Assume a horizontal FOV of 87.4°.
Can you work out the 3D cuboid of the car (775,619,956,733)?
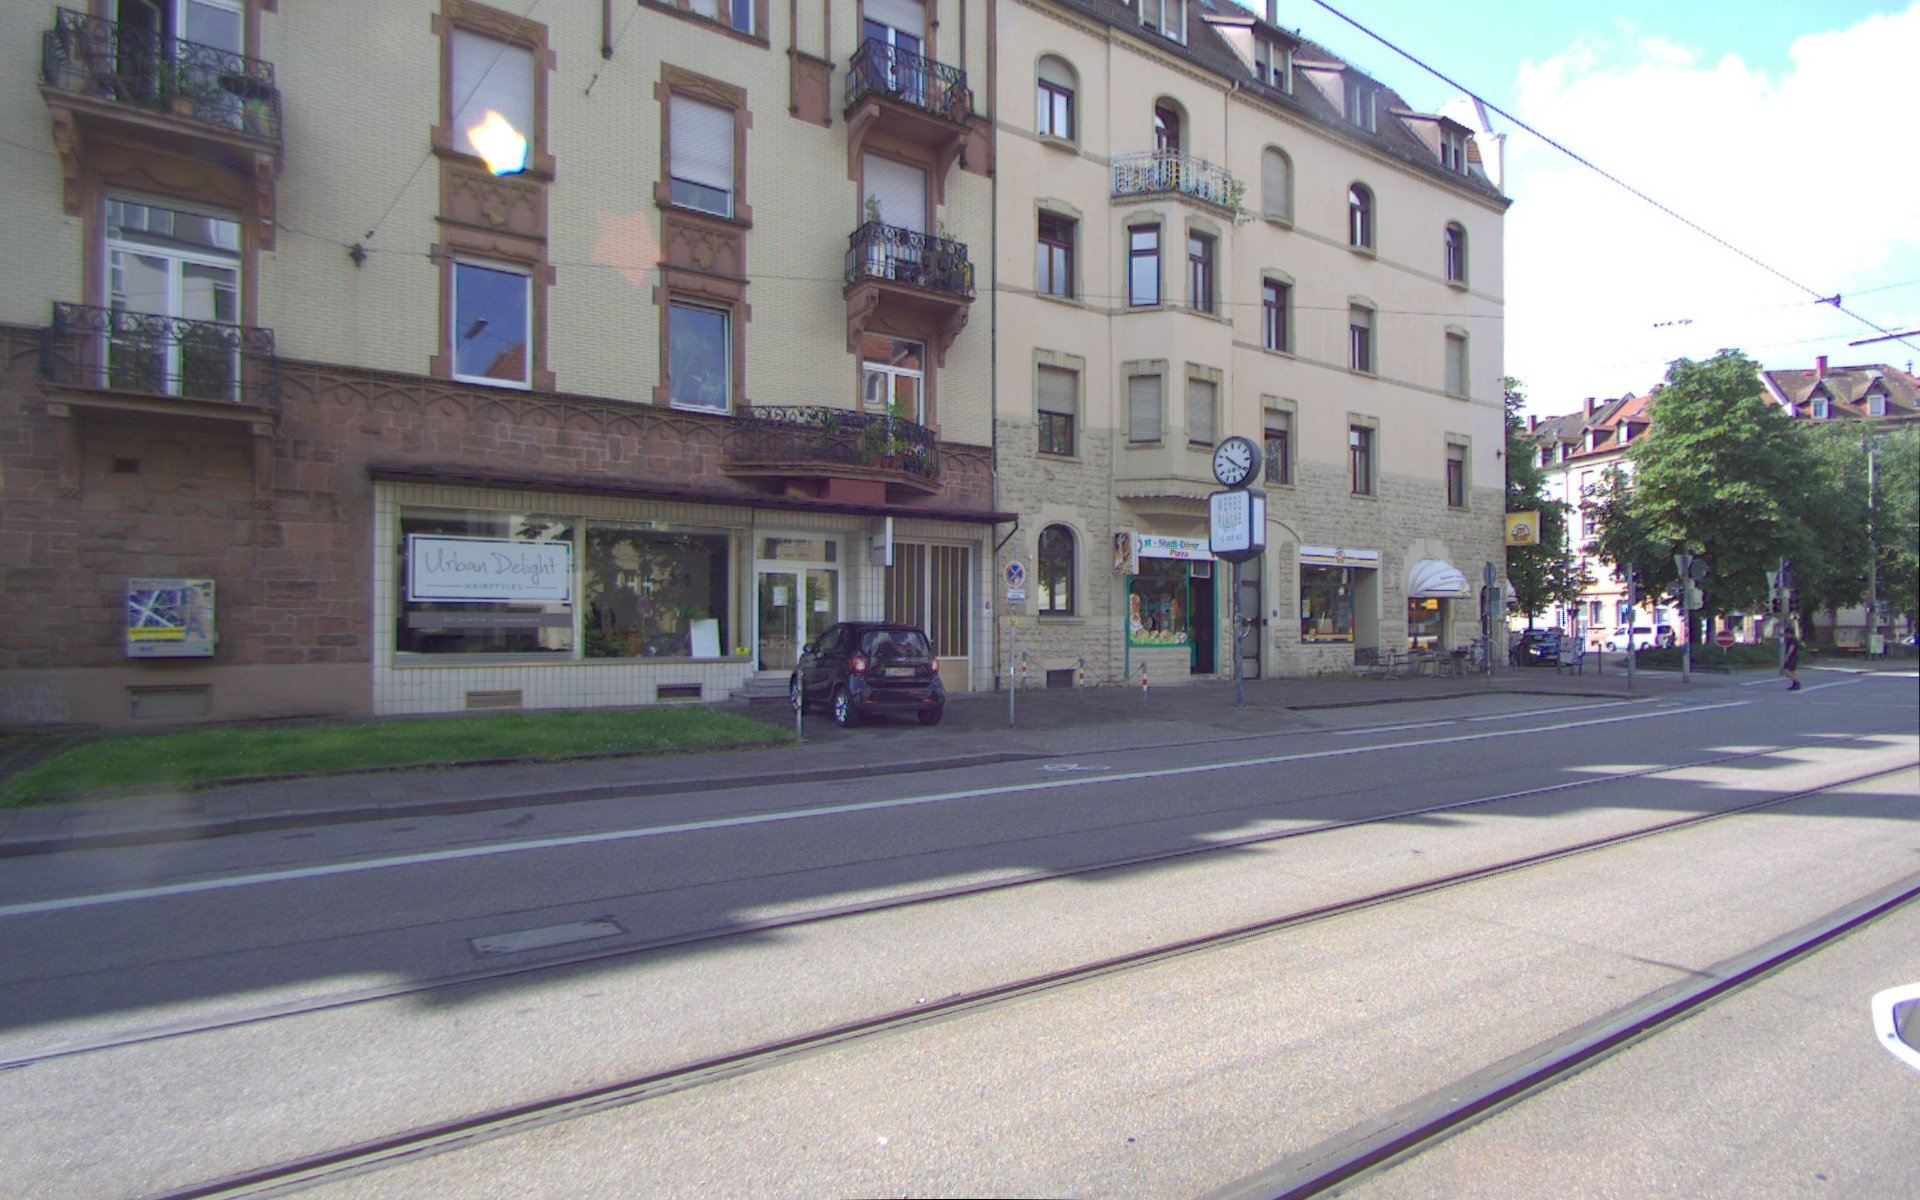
[{"bbox_3d":[-1.603,1.122,16.094,1.716,1.505,3.163,1,1,-30],"label":"car"}]

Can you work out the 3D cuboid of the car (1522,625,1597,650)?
[{"bbox_3d":[41.026,2.538,68.765,1.976,1.617,3.970,1,-2,-29],"label":"car"}]

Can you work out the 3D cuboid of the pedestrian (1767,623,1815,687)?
[{"bbox_3d":[22.684,1.489,27.434,0.690,1.706,0.750,1,-1,-21],"label":"pedestrian"}]

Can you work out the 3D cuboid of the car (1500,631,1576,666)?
[{"bbox_3d":[26.533,2.178,46.263,1.725,1.538,4.072,0,-2,9],"label":"car"}]

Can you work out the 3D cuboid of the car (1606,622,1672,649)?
[{"bbox_3d":[50.628,2.656,74.987,1.962,1.929,3.997,0,-1,-5],"label":"car"}]

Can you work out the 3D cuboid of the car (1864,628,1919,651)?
[{"bbox_3d":[58.430,2.437,61.746,3.928,1.378,1.676,-1,-2,29],"label":"car"}]
